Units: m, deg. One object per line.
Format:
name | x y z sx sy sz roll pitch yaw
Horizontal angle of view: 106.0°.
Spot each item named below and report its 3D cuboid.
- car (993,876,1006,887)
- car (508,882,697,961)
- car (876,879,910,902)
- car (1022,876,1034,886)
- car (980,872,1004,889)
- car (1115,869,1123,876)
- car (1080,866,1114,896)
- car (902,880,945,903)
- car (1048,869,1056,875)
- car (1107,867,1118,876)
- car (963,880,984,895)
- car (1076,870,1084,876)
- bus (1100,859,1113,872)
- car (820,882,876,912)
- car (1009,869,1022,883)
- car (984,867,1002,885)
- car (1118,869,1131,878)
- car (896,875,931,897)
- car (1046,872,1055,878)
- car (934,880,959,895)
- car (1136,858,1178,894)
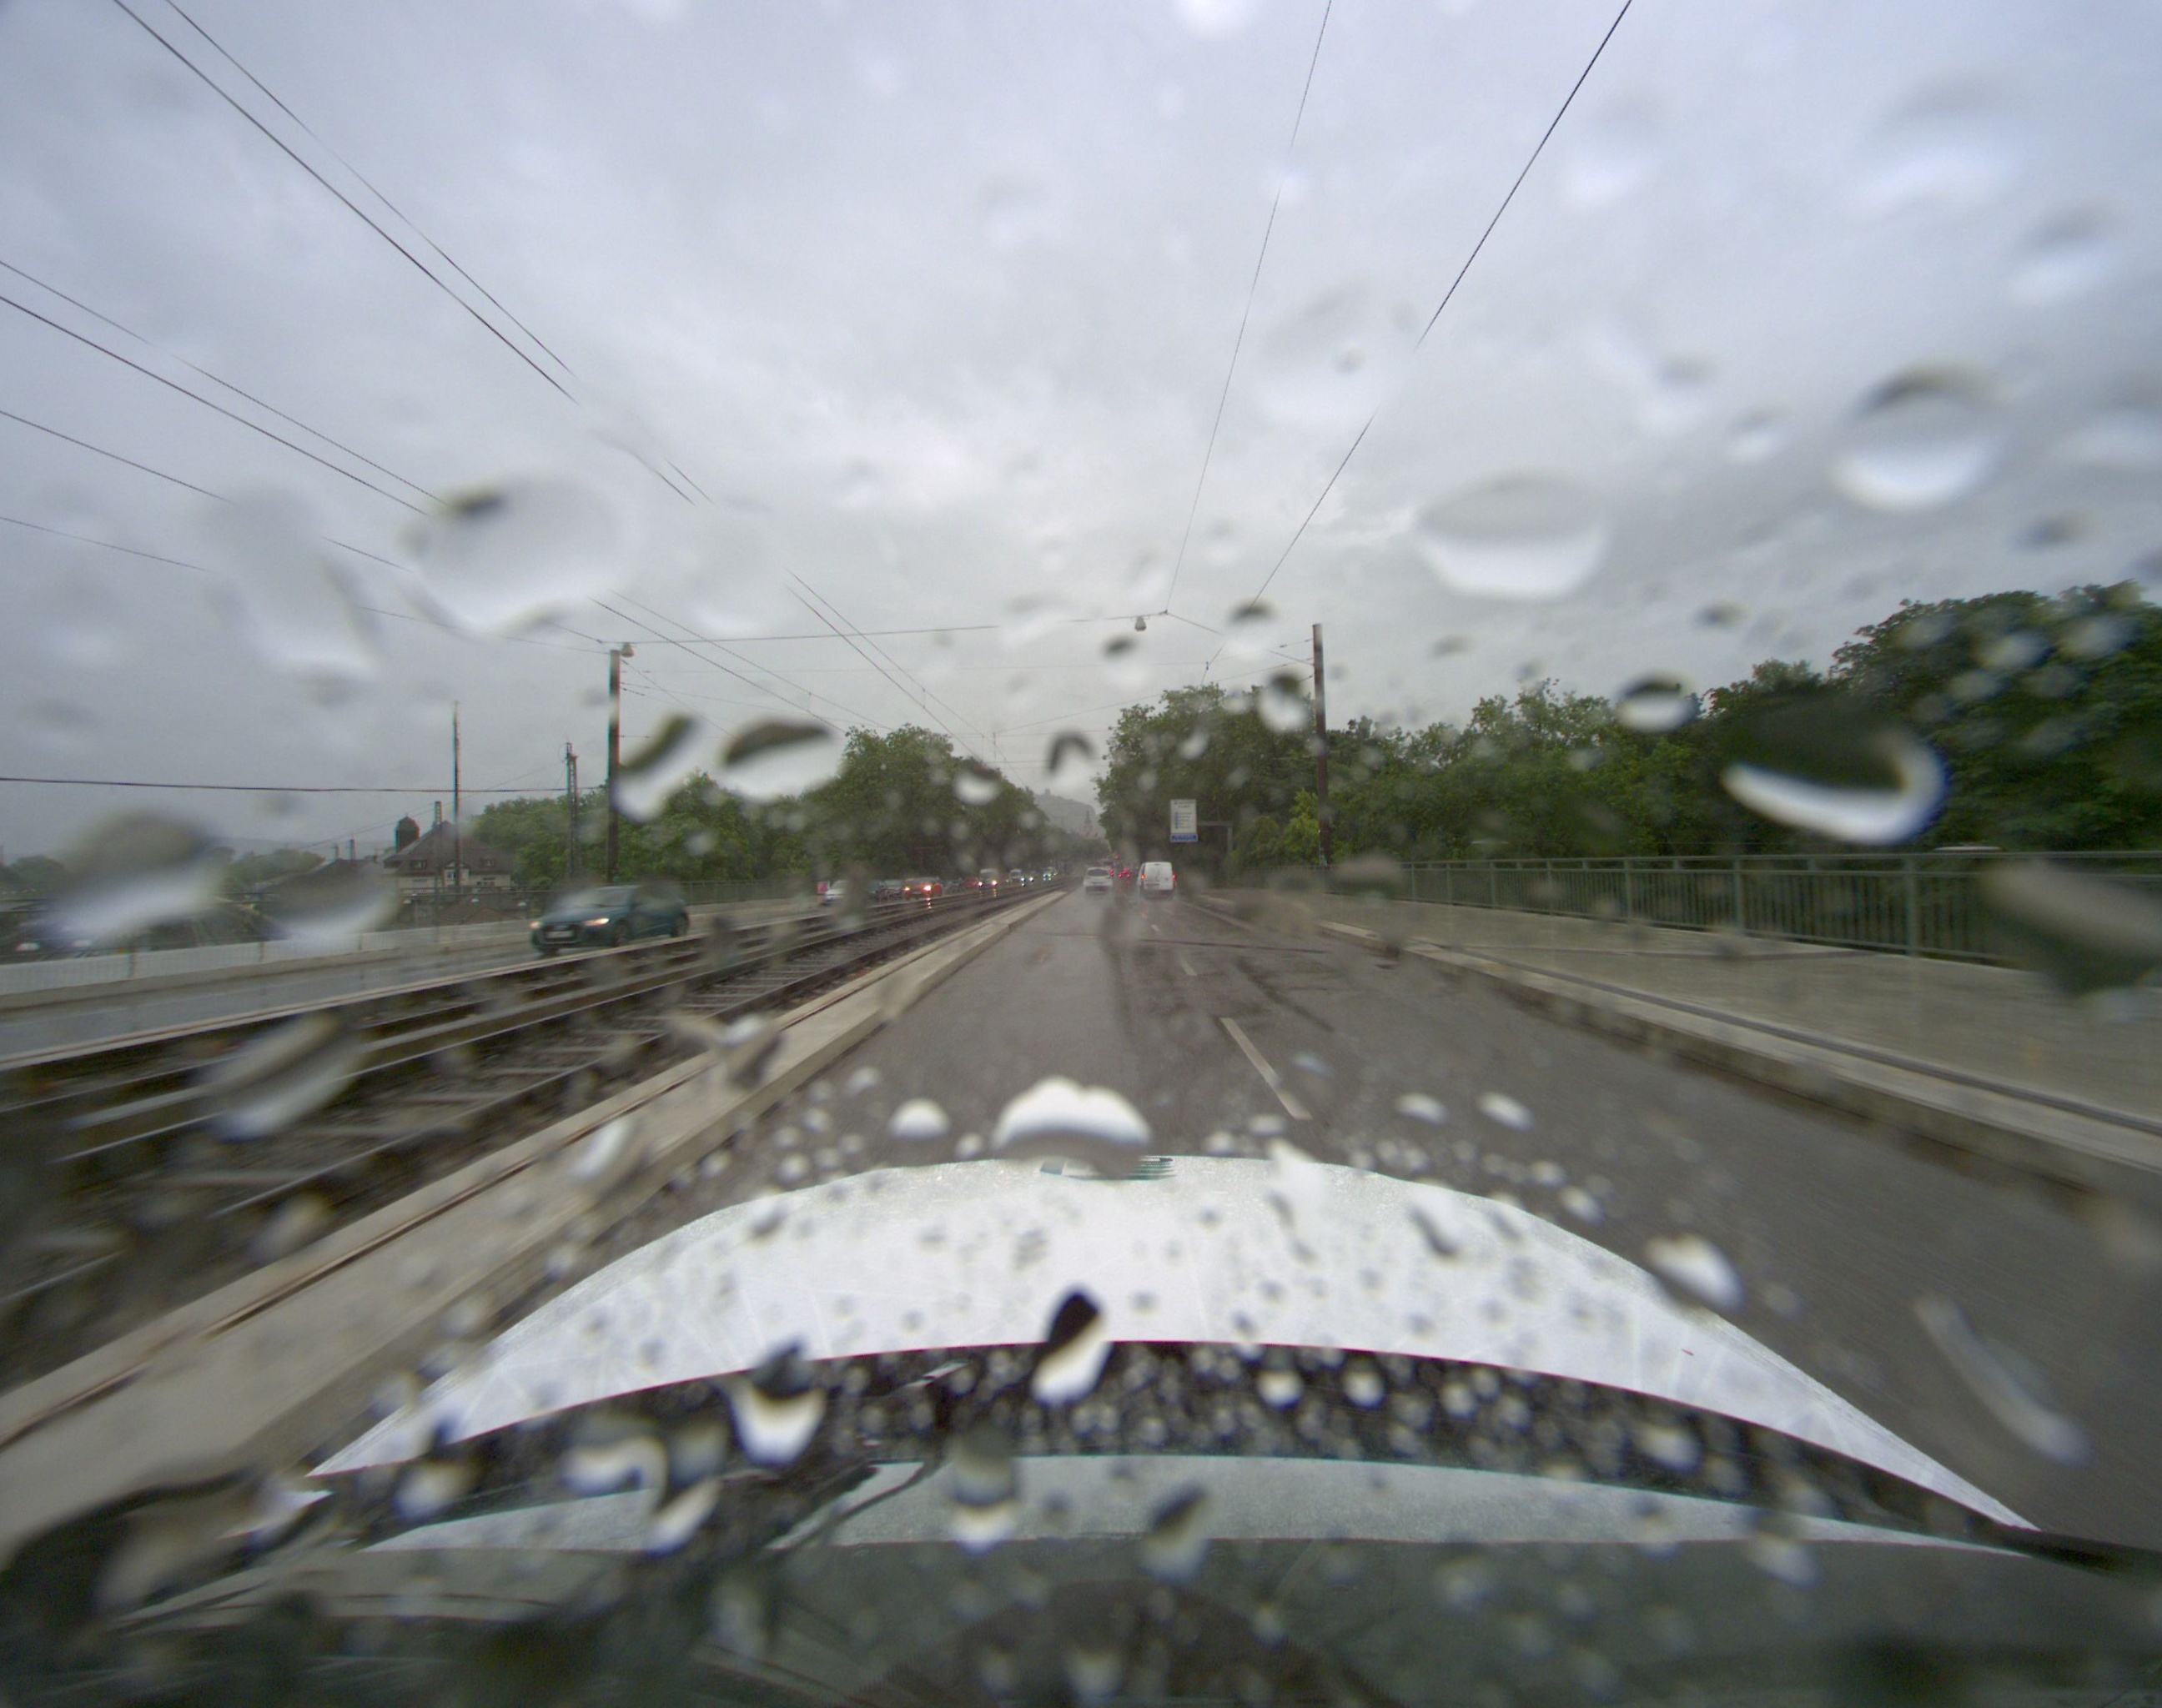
car | -12.401 4.170 124.186 1.500 1.350 4.028 -3 0 1
car | -10.693 1.448 18.603 1.792 1.482 4.085 0 0 2
car | -13.376 2.570 58.152 1.502 1.401 4.403 -3 0 -3
car | -8.911 4.508 136.511 1.500 1.401 4.709 -3 0 2
car | -8.948 2.643 82.173 1.809 1.368 4.268 0 3 2
car | 9.583 4.708 207.601 1.985 1.827 4.004 0 0 3
car | 1.037 1.661 51.028 1.985 1.717 4.004 0 0 3
car | -10.009 2.358 52.070 1.792 1.316 4.085 0 0 2
car | -8.269 5.166 234.167 1.798 1.350 4.265 -3 0 1
car | 6.454 3.617 166.779 1.985 1.827 4.004 0 0 3
car | -12.237 3.772 92.864 1.604 1.442 4.263 -3 0 1
car | -0.321 5.258 225.663 1.795 1.350 4.272 -4 0 7
bus | 7.762 3.435 246.467 3.375 3.837 9.747 0 0 4
car | -13.545 2.469 47.582 1.857 1.455 4.320 -3 0 1
car | -11.608 3.910 145.144 1.794 2.221 4.278 -3 0 1
car | -11.833 2.940 109.913 1.735 2.169 5.813 -3 0 0
car | 6.952 3.062 130.201 1.985 1.321 4.004 0 0 3
car | -13.088 2.490 63.887 1.501 1.400 4.893 -7 0 0
car | -7.873 5.289 209.479 1.798 1.350 4.265 -3 0 1
car | -12.576 3.167 76.324 1.500 1.172 3.713 -3 0 1
car | 3.771 1.071 40.906 1.985 1.726 4.004 0 0 3
